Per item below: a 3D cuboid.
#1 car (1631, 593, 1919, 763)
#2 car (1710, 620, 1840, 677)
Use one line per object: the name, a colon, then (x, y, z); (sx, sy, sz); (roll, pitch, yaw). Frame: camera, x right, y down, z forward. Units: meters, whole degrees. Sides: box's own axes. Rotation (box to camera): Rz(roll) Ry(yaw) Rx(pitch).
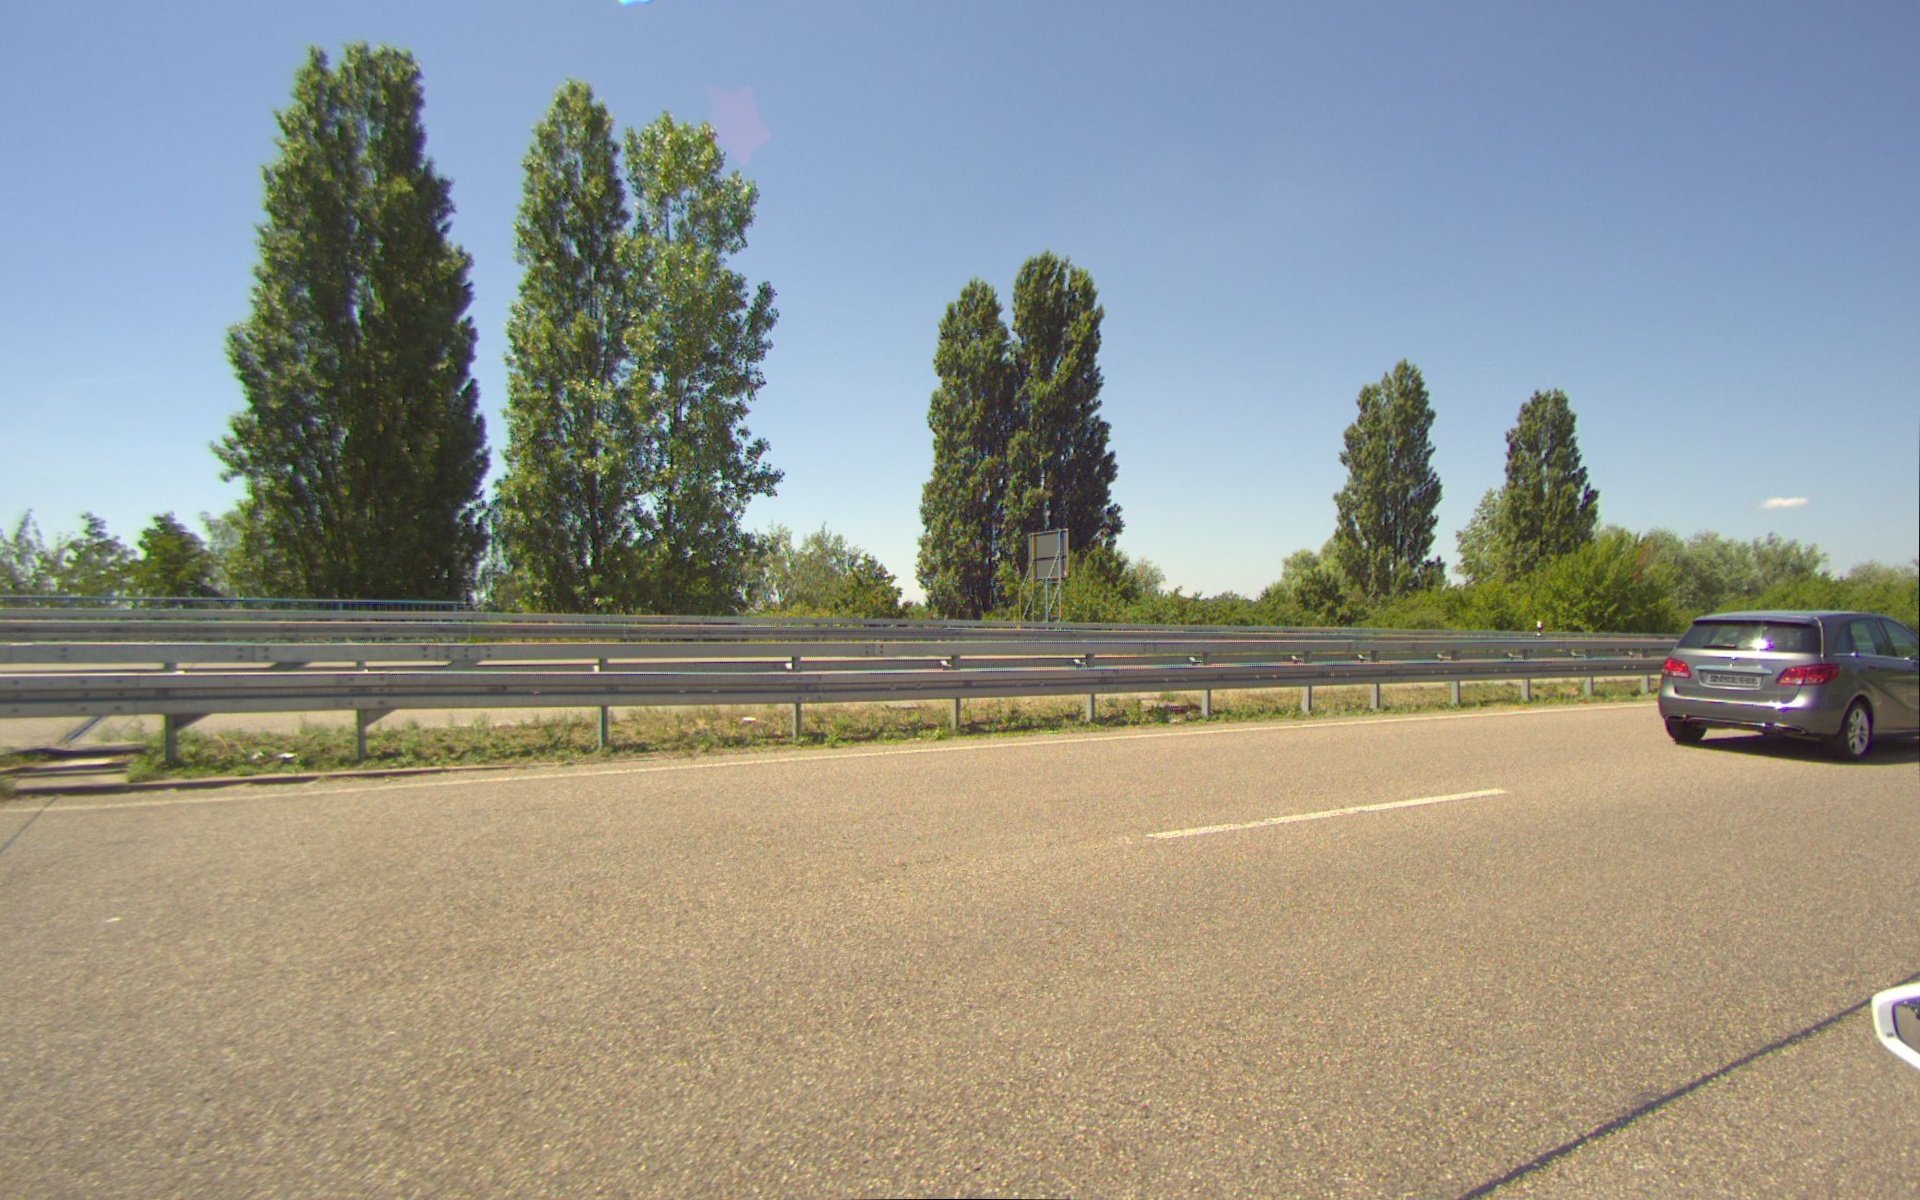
car: (10.208, 0.816, 11.879); (4.495, 1.690, 1.786); (1, 0, -27)
car: (25.970, 1.537, 31.970); (4.138, 1.669, 1.817); (2, -1, -29)
